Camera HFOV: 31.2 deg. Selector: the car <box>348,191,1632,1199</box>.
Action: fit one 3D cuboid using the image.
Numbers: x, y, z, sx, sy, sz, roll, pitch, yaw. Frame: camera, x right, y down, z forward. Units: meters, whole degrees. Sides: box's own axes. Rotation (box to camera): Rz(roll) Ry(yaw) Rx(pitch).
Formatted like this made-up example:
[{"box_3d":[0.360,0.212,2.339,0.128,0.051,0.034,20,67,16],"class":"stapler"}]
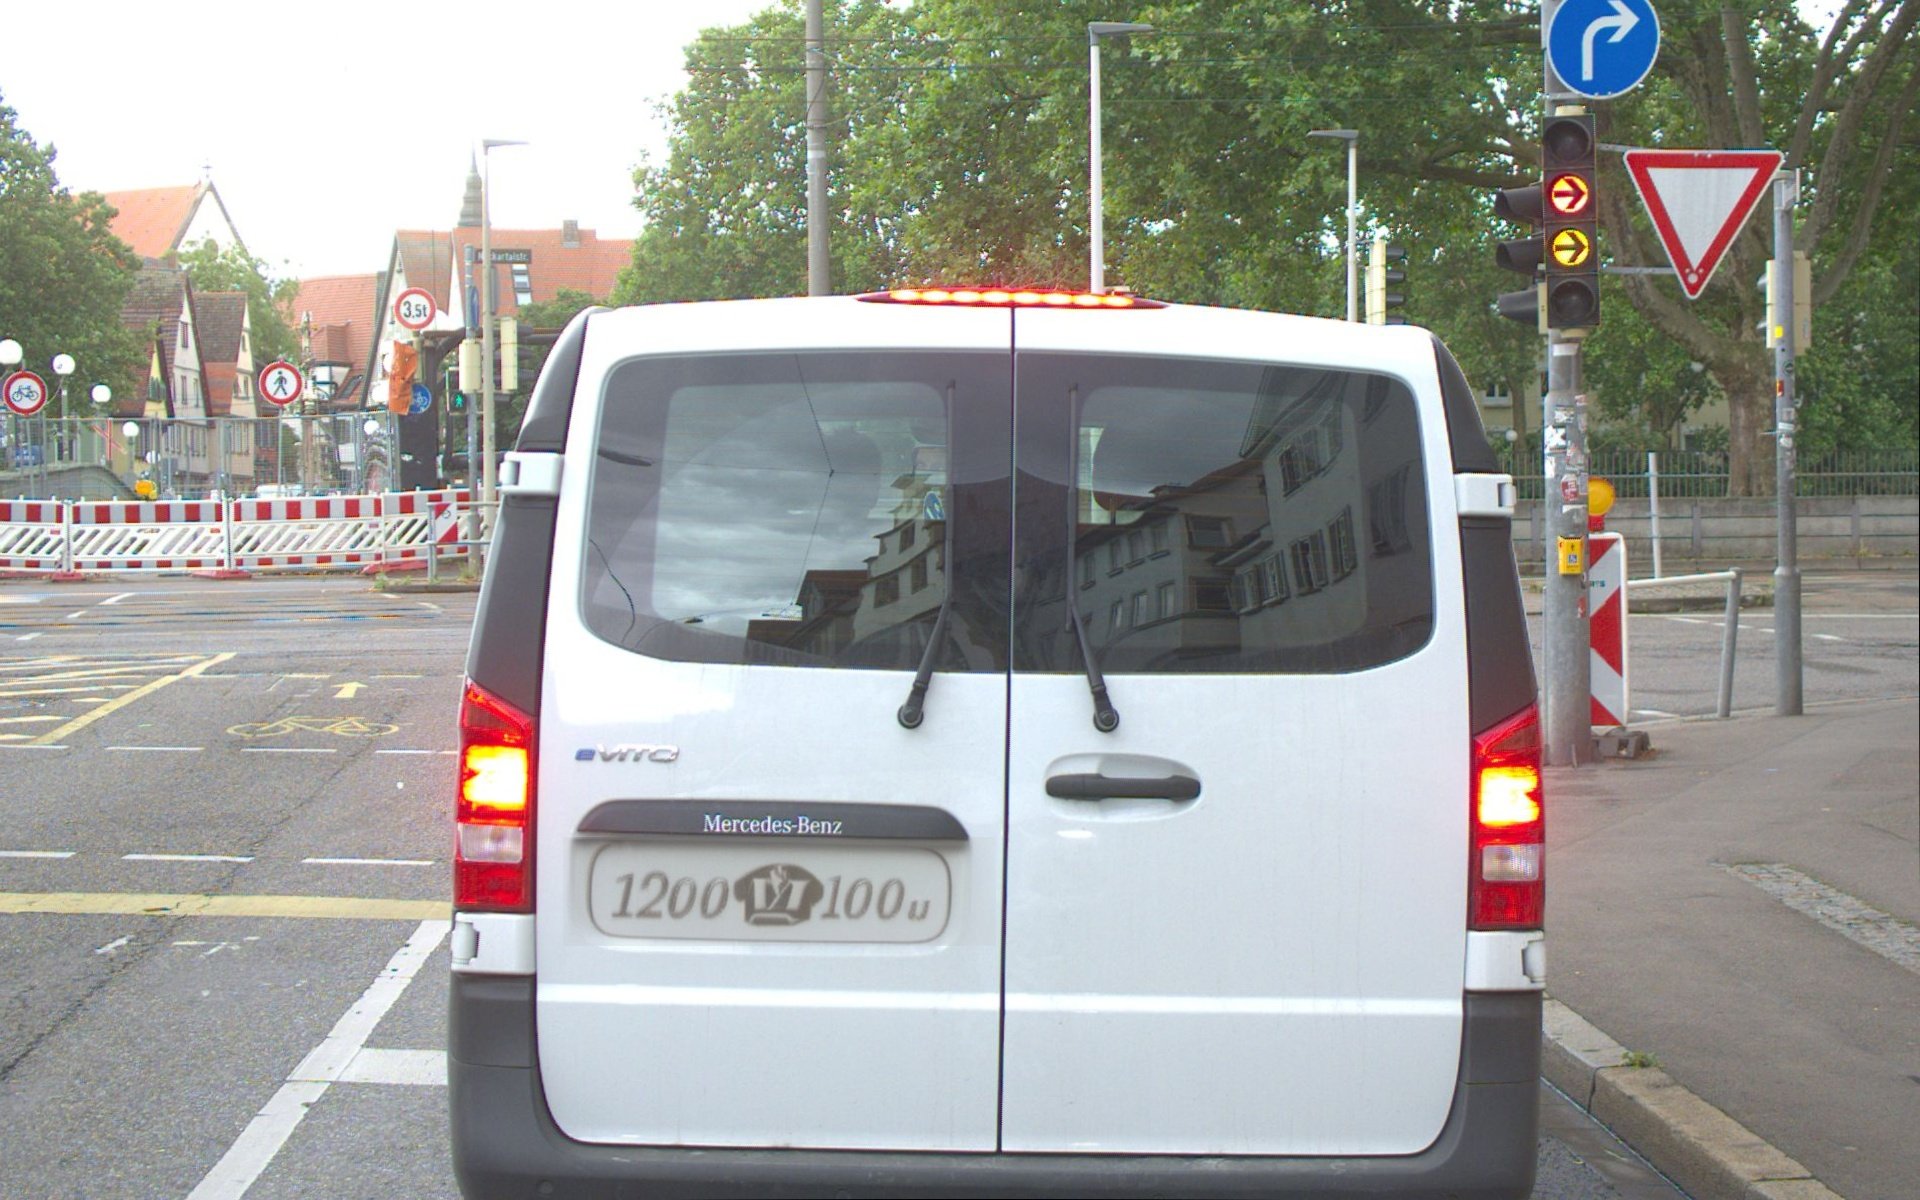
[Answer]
[{"box_3d":[0.013,0.292,7.639,1.951,2.006,4.699,1,2,-1],"class":"car"}]
